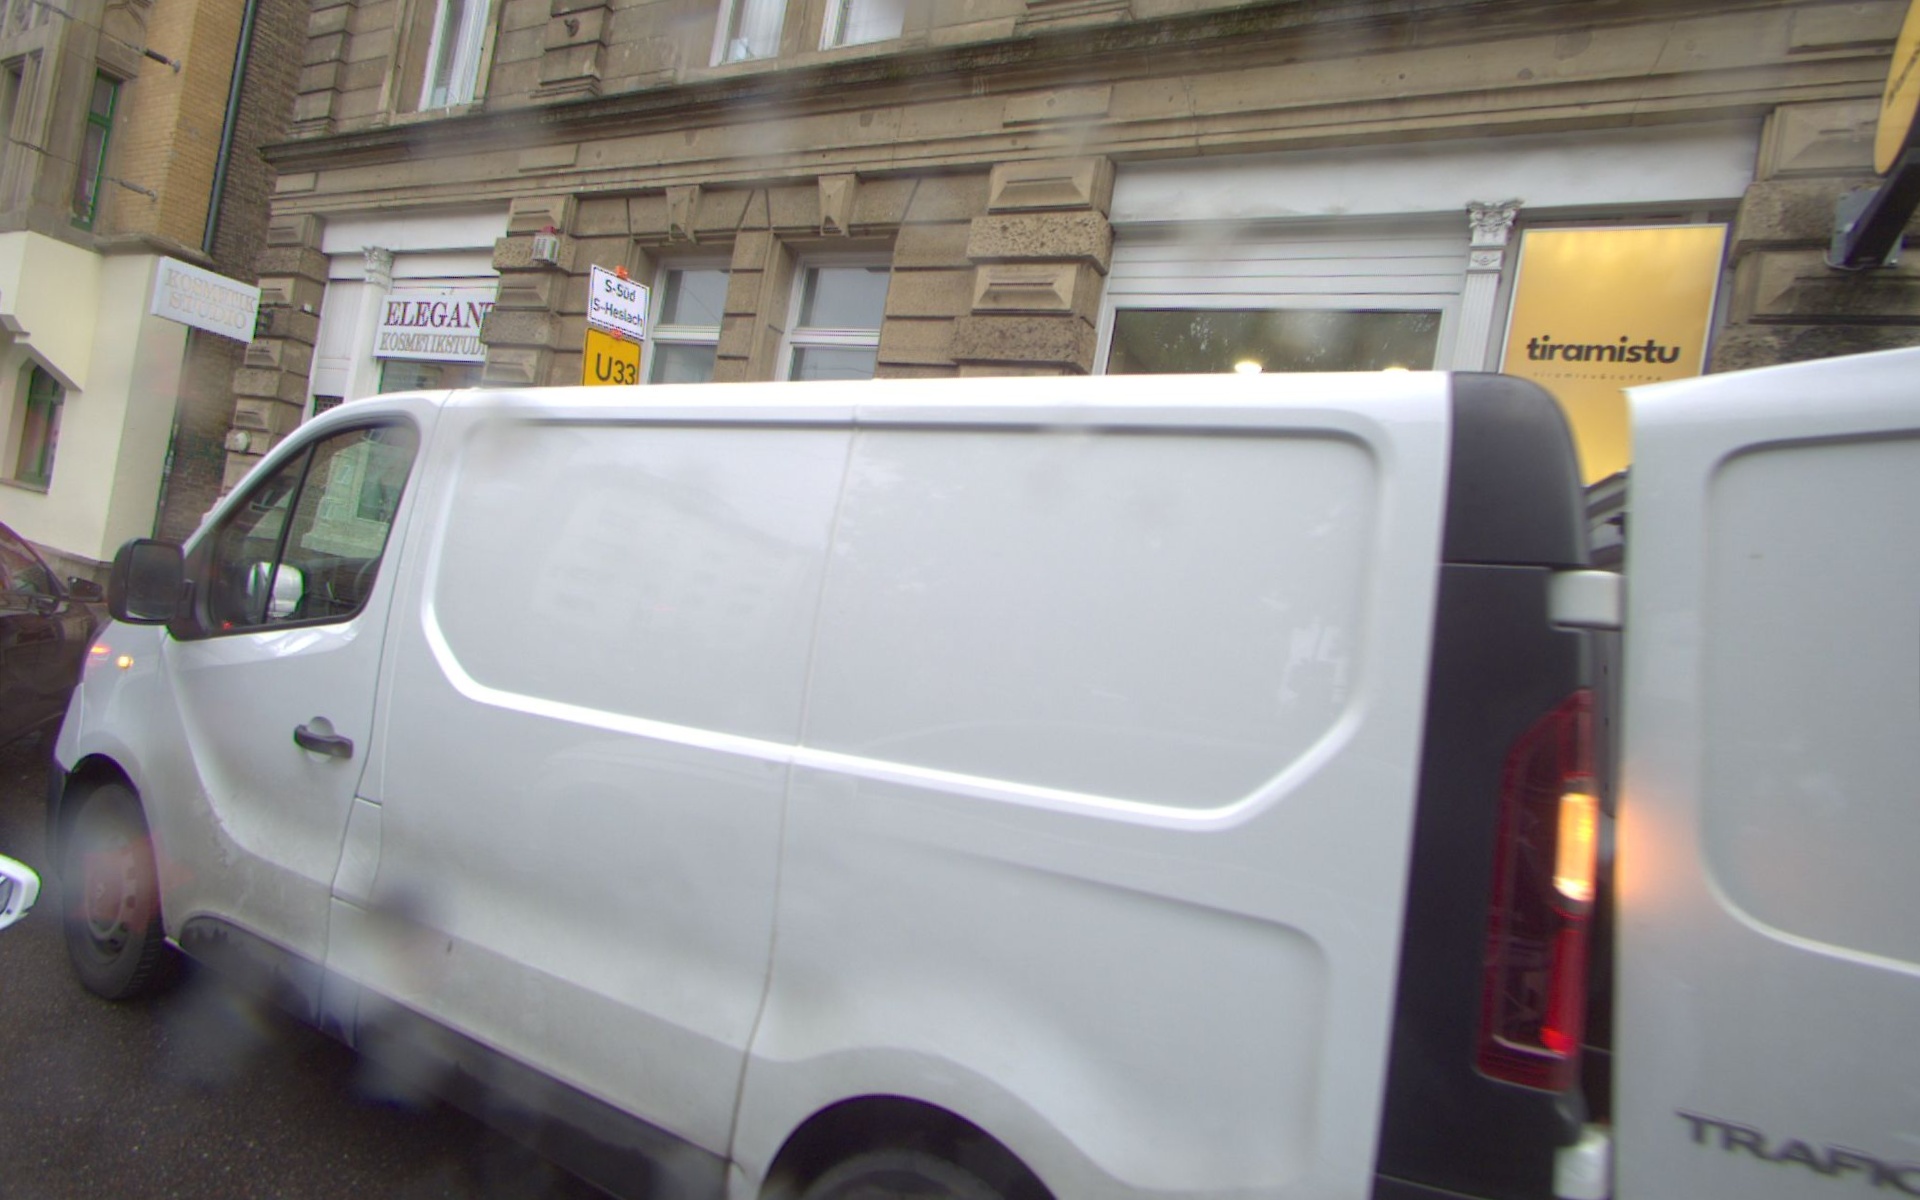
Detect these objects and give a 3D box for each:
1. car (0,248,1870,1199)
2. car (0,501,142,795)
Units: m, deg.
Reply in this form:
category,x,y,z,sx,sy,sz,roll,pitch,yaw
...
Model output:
category,x,y,z,sx,sy,sz,roll,pitch,yaw
car,-0.686,0.467,3.036,4.606,1.958,1.926,7,-2,30
car,-5.739,0.080,5.035,1.883,1.406,3.968,9,-2,-32
